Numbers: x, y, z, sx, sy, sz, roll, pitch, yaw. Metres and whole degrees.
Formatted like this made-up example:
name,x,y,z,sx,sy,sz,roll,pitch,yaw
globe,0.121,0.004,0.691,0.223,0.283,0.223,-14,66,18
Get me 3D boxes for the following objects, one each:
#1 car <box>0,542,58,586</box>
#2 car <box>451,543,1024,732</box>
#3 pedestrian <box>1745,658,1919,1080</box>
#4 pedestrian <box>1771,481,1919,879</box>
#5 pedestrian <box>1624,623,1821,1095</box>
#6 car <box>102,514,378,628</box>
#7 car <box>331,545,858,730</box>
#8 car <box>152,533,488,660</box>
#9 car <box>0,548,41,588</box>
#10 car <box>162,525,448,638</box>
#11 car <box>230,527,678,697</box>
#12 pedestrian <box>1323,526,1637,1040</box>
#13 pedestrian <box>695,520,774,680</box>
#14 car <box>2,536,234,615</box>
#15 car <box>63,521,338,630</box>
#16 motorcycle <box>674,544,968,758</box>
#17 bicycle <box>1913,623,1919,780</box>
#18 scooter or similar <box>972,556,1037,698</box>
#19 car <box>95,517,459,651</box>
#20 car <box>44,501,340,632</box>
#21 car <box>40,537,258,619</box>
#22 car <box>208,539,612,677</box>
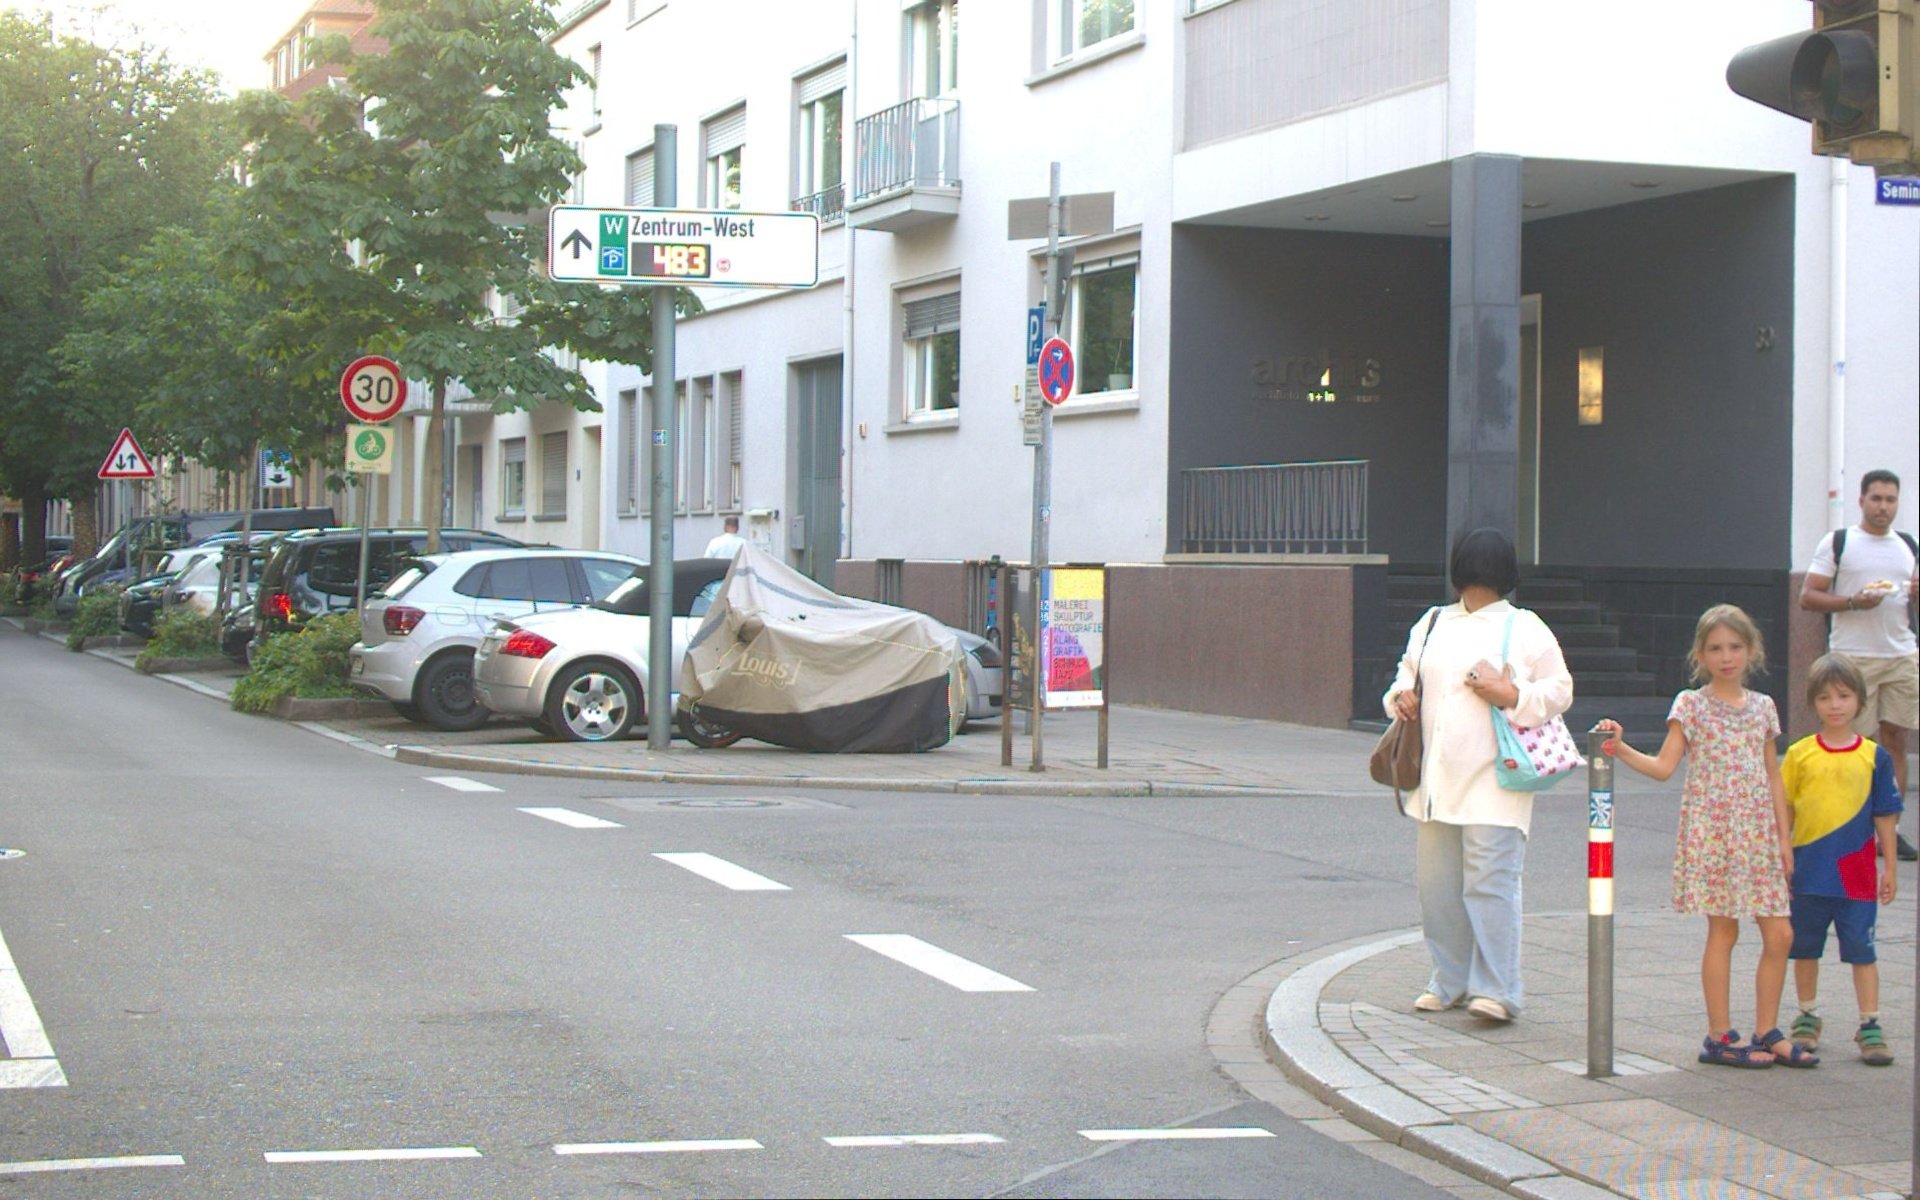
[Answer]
name,x,y,z,sx,sy,sz,roll,pitch,yaw
car,-32.284,-1.209,115.859,3.482,1.447,1.900,-1,1,-20
car,-1.690,0.266,25.704,3.986,1.328,1.795,0,1,-15
pedestrian,2.527,0.748,9.739,0.544,1.141,0.493,-1,1,10
pedestrian,4.469,0.358,16.566,0.697,1.848,1.050,-1,1,-14
pedestrian,2.101,0.703,9.508,0.488,1.257,0.451,-1,1,10
car,-11.301,-0.469,53.948,3.964,1.573,1.852,-3,2,-19
car,-3.002,0.289,28.042,3.986,1.432,1.795,0,1,-18
car,-8.353,-0.066,44.777,4.073,1.424,1.819,-3,2,-16
car,-36.365,-1.188,128.090,3.875,1.435,1.848,-1,1,-21
car,-9.487,-0.286,49.740,3.792,1.418,1.698,-3,2,-19
car,-5.038,0.110,34.082,4.108,1.612,1.961,0,1,-18
pedestrian,1.600,0.534,10.577,0.720,1.506,0.598,0,2,43
pedestrian,-2.552,-0.011,38.873,0.697,1.789,0.881,0,1,-18
car,-17.387,-0.518,70.960,4.399,1.389,1.886,-3,2,-20
car,-12.590,-0.422,56.961,4.154,1.573,1.970,-3,2,-20
motorcycle,-0.942,0.327,22.908,1.907,1.387,1.000,0,1,-5
bicycle,6.999,0.662,21.279,1.970,1.026,0.674,3,-1,1
scooter or similar,0.392,0.232,30.878,0.345,1.235,1.421,1,1,-9
car,-9.351,-0.236,47.052,4.589,1.573,1.945,-3,2,-19
car,-13.248,-0.598,59.269,4.688,2.004,2.038,-3,2,-19
car,-16.255,-0.460,68.857,3.986,1.433,1.927,-3,2,-20
car,-6.312,0.068,39.426,4.314,1.491,1.795,-1,1,-19
